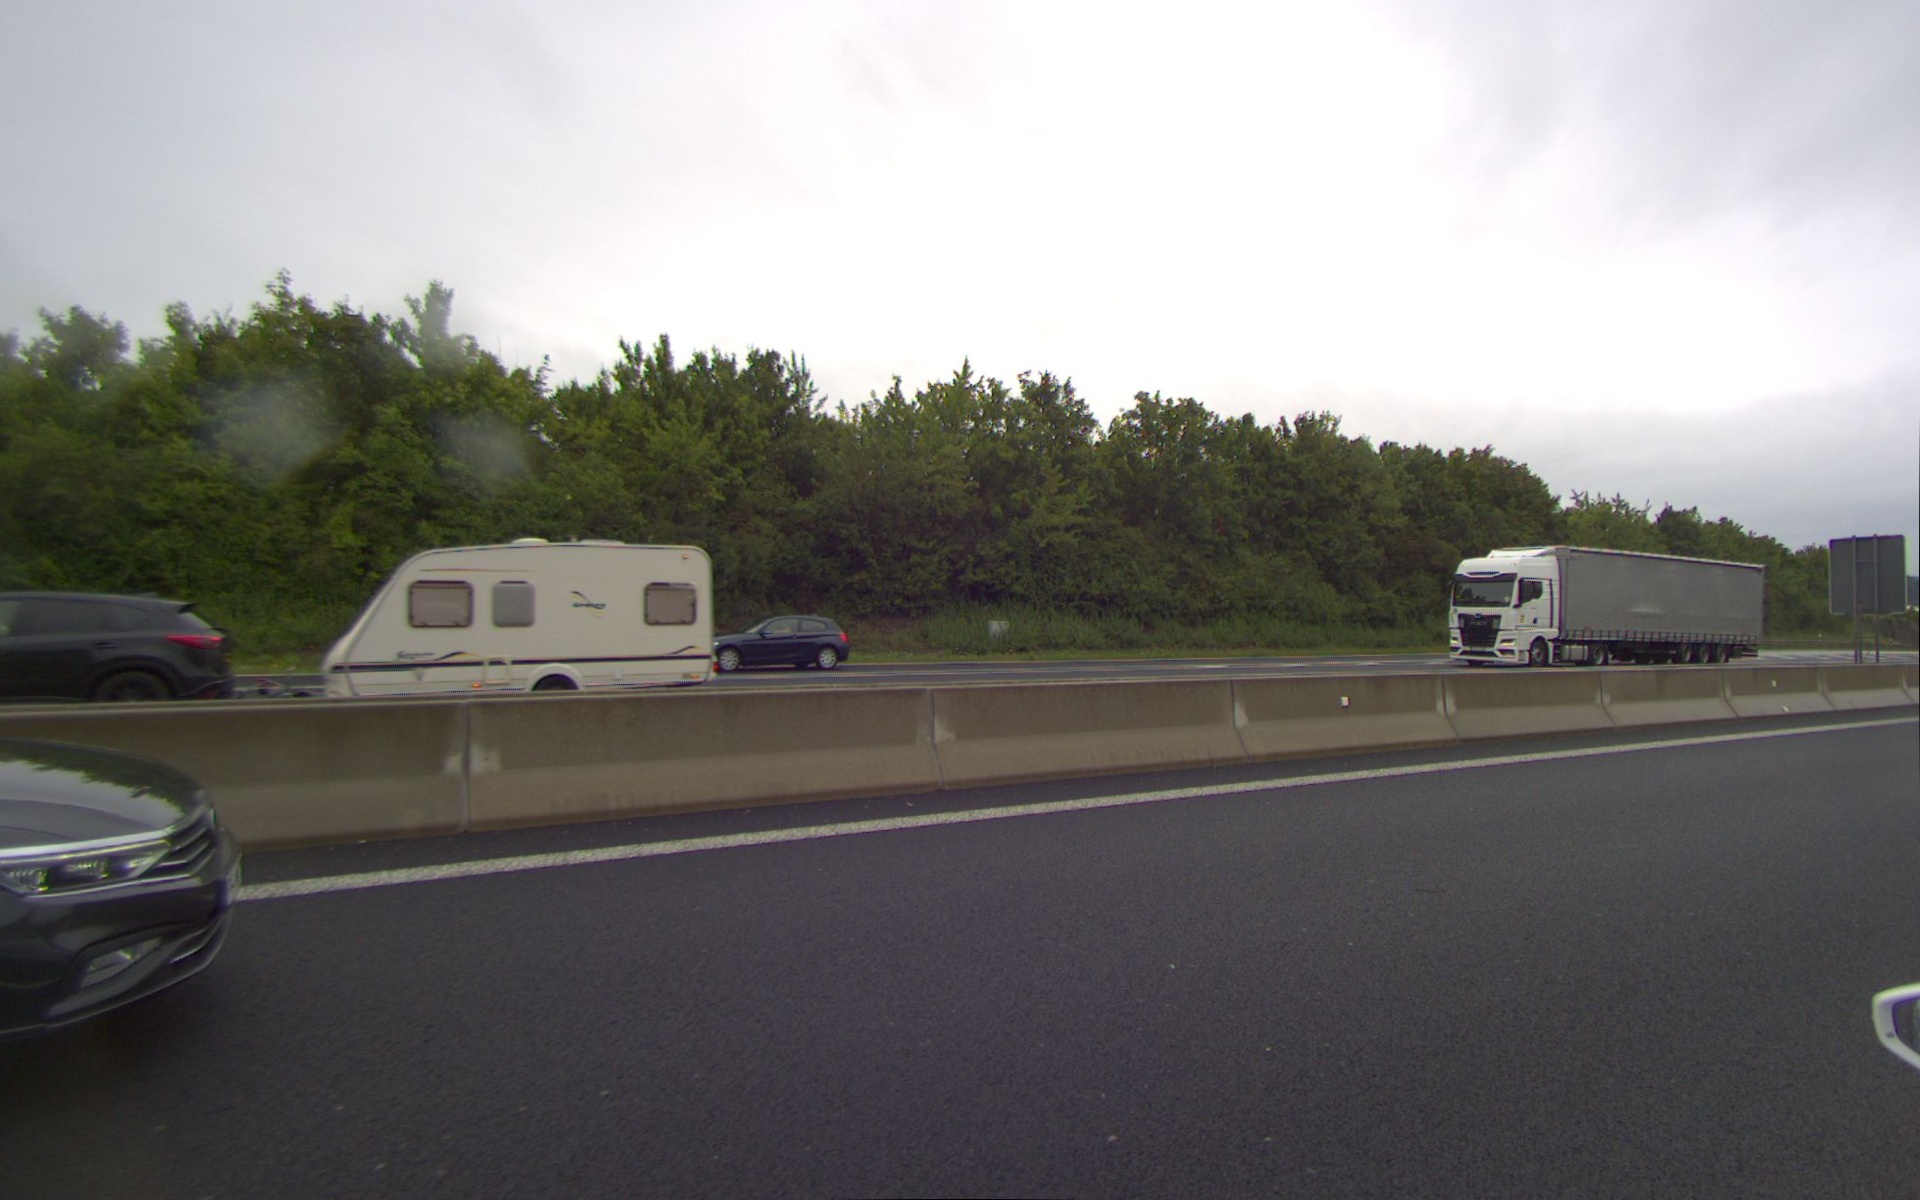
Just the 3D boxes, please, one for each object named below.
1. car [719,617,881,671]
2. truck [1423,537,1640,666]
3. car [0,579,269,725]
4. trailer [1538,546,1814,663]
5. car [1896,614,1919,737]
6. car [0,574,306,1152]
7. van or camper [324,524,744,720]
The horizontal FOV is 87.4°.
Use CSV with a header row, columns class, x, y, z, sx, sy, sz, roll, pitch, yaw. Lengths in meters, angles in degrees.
class,x,y,z,sx,sy,sz,roll,pitch,yaw
car,-4.184,1.142,26.415,3.877,1.311,1.680,1,-1,-31
truck,20.254,0.130,35.547,7.347,4.138,3.247,1,-1,-28
car,-10.985,0.591,12.029,4.338,1.642,1.520,1,-1,-31
trailer,28.880,0.321,40.164,13.670,4.138,3.247,1,-1,-28
car,15.236,1.067,14.075,4.449,1.661,1.966,2,-1,-31
car,-4.580,0.659,2.516,4.795,1.517,1.891,1,-1,-31
van or camper,-6.174,0.339,14.991,5.483,2.502,1.786,1,-1,-31
